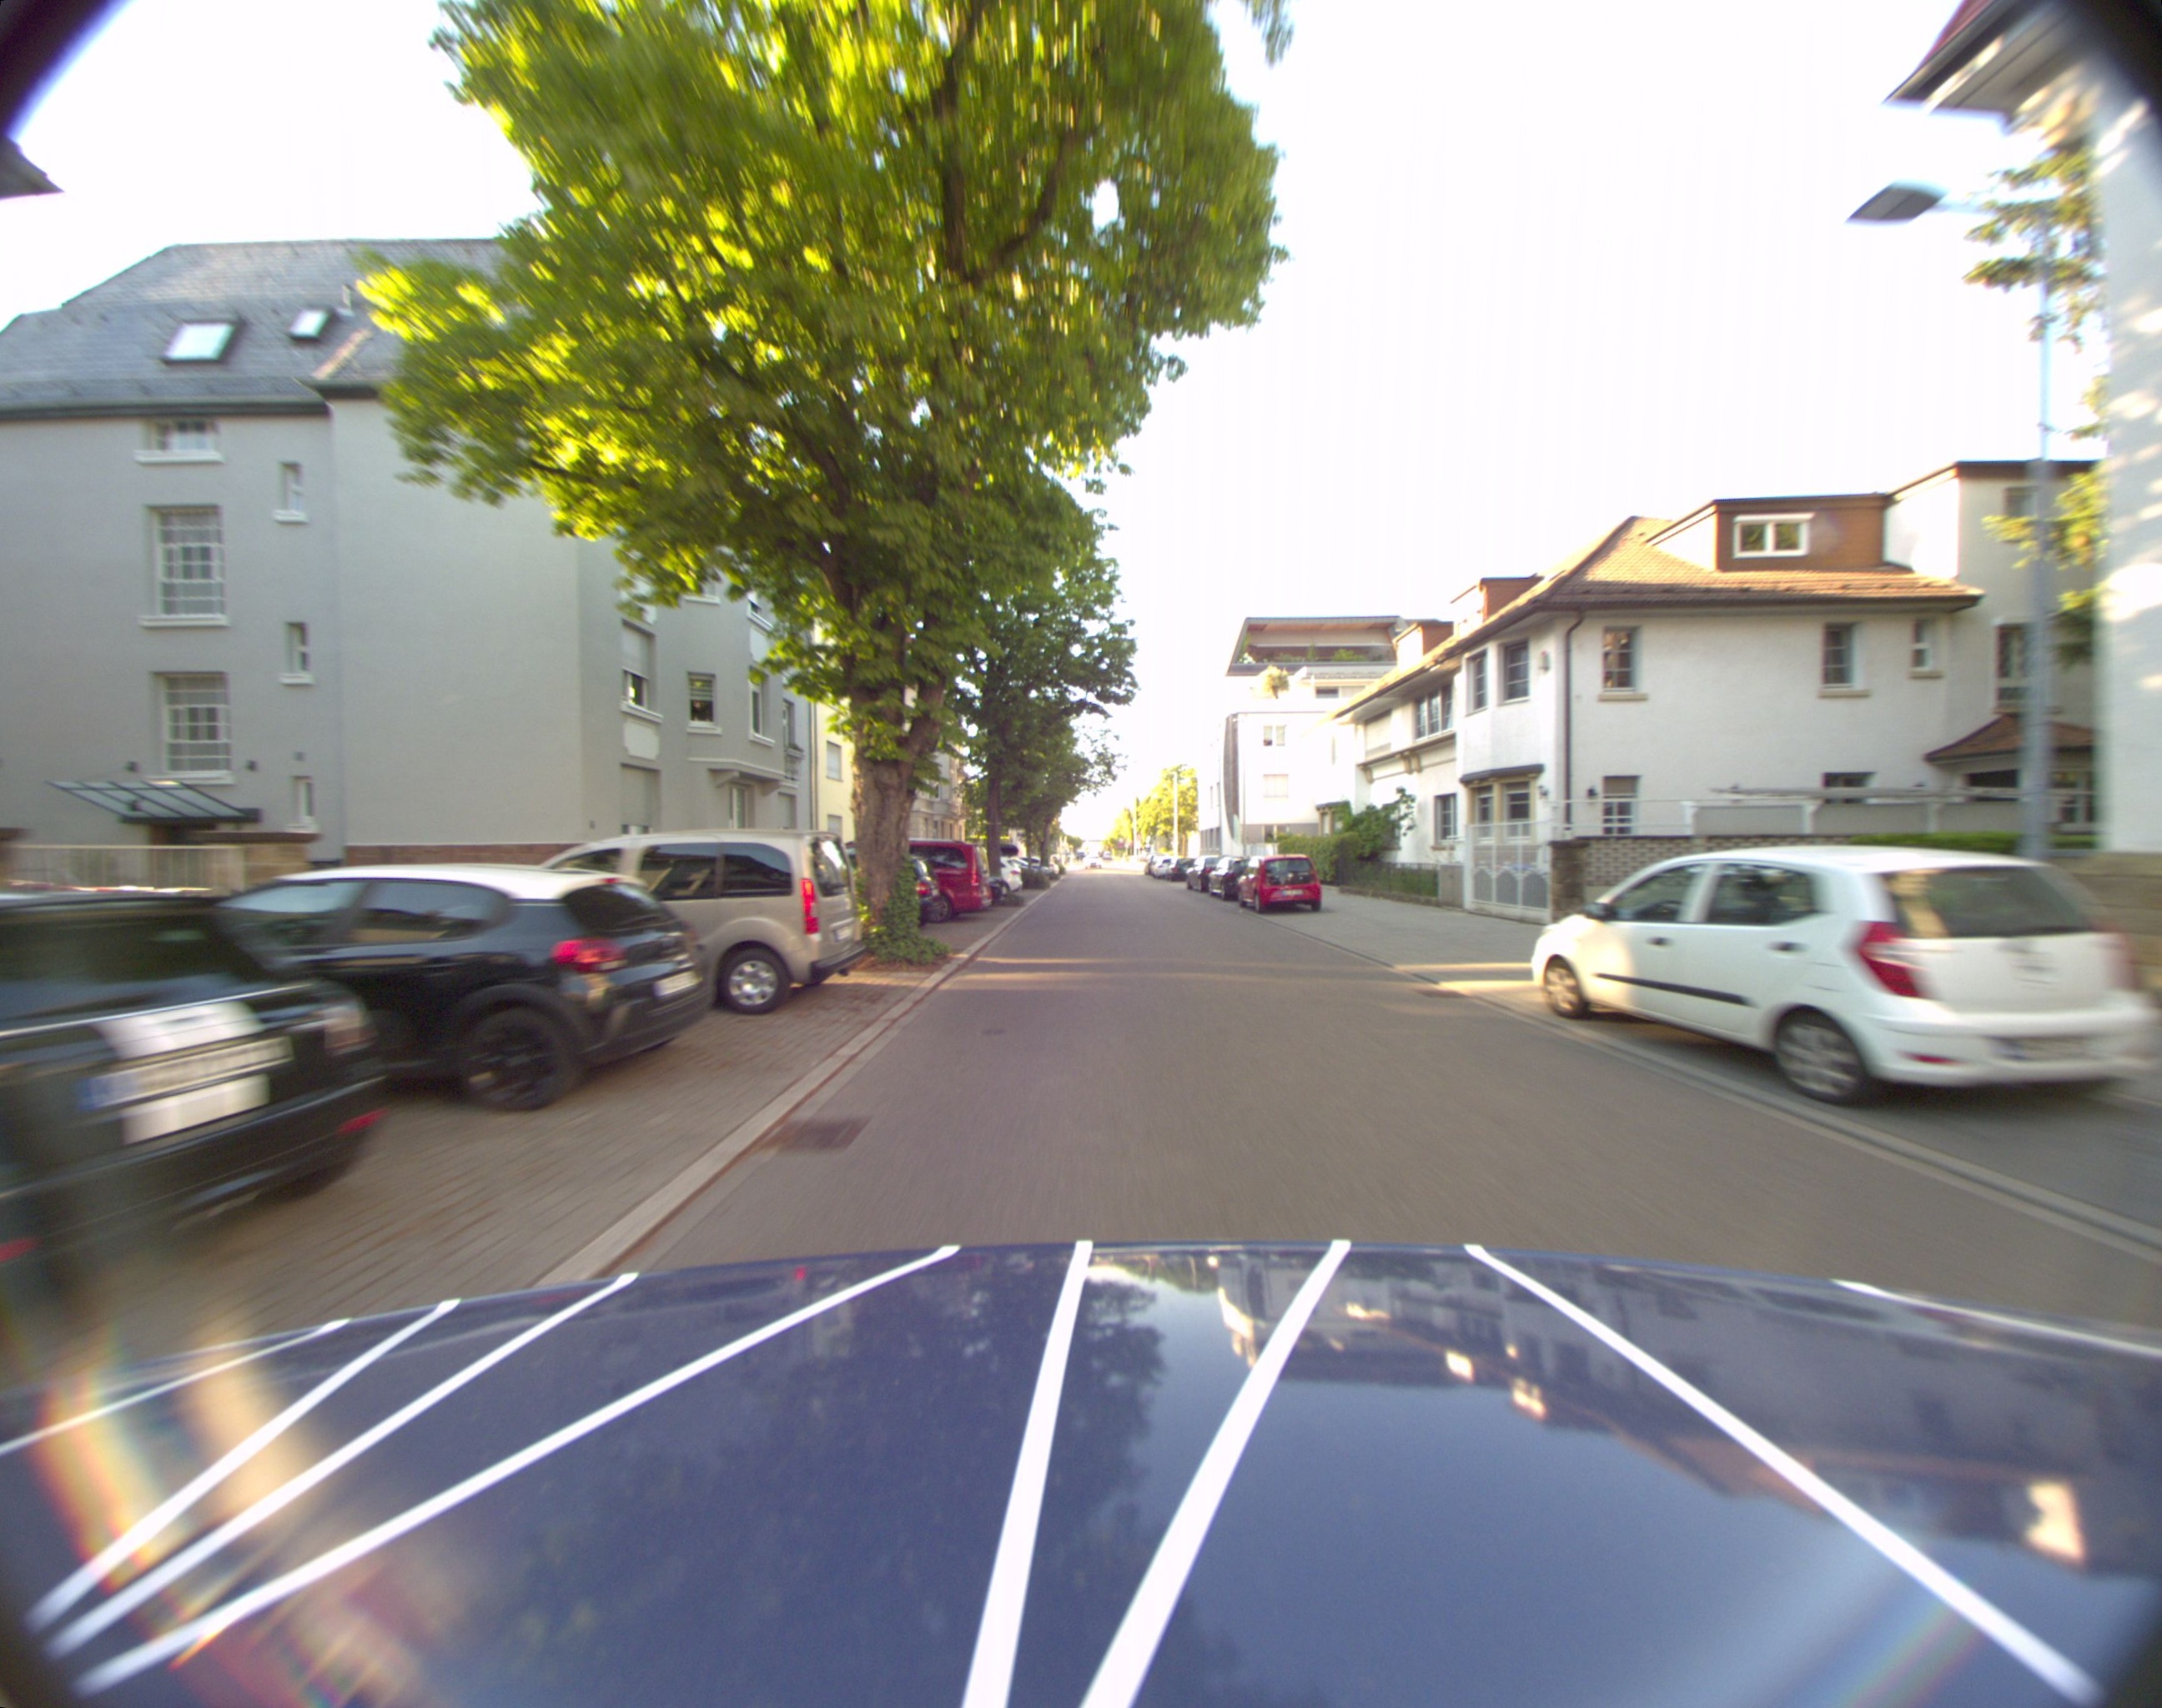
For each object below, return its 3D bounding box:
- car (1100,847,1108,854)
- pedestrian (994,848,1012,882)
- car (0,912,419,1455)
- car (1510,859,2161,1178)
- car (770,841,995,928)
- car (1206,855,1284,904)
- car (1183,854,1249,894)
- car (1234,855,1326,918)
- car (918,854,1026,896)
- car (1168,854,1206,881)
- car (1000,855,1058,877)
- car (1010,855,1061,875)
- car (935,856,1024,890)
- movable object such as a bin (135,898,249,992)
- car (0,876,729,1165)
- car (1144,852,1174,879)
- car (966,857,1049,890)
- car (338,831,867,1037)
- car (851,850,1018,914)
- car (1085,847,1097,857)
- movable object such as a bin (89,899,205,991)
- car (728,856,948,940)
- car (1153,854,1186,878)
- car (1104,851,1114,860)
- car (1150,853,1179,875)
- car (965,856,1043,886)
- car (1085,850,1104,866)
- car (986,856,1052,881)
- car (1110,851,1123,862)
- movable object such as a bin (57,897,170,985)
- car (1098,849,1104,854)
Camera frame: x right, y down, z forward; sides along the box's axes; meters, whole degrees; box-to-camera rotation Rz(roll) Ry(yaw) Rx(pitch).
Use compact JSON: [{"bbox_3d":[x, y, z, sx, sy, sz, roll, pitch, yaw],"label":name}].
[{"bbox_3d":[6.026,-0.876,199.571,1.913,1.679,4.198,-3,0,1],"label":"car"},{"bbox_3d":[-4.605,0.634,45.037,0.999,2.002,0.981,-1,1,-2],"label":"pedestrian"},{"bbox_3d":[-4.756,0.982,2.620,3.411,1.419,1.759,0,0,1],"label":"car"},{"bbox_3d":[5.091,0.846,5.696,1.585,1.511,3.706,-2,0,-1],"label":"car"},{"bbox_3d":[-4.587,0.683,18.090,4.819,1.925,1.950,0,0,1],"label":"car"},{"bbox_3d":[5.493,0.798,26.007,1.742,1.451,4.378,-3,0,1],"label":"car"},{"bbox_3d":[5.536,0.785,31.684,1.743,1.451,4.564,-3,0,-2],"label":"car"},{"bbox_3d":[5.295,0.811,20.619,1.654,1.474,3.429,-2,0,2],"label":"car"},{"bbox_3d":[-3.951,0.752,27.989,3.680,1.488,1.676,0,0,1],"label":"car"},{"bbox_3d":[6.006,0.760,43.414,1.723,1.386,3.908,-2,0,2],"label":"car"},{"bbox_3d":[-3.498,0.786,51.199,3.828,1.477,1.600,0,0,-6],"label":"car"},{"bbox_3d":[-3.461,0.841,58.715,3.825,1.477,1.601,0,0,1],"label":"car"},{"bbox_3d":[-4.393,0.818,33.226,3.680,1.434,1.601,0,0,1],"label":"car"},{"bbox_3d":[-11.305,1.141,9.680,0.604,1.094,0.692,-2,1,7],"label":"movable object such as a bin"},{"bbox_3d":[-4.969,0.962,5.160,4.313,1.532,1.758,0,0,-2],"label":"car"},{"bbox_3d":[5.965,0.865,58.756,1.913,1.937,4.198,-3,0,1],"label":"car"},{"bbox_3d":[-3.365,0.886,35.333,3.680,1.434,1.601,0,0,1],"label":"car"},{"bbox_3d":[-4.632,0.716,7.903,4.313,1.874,1.758,0,1,-2],"label":"car"},{"bbox_3d":[-3.989,0.754,21.076,4.207,1.695,1.792,0,0,4],"label":"car"},{"bbox_3d":[1.664,-0.331,128.416,1.913,1.679,4.198,-3,0,1],"label":"car"},{"bbox_3d":[-11.982,1.154,9.767,0.604,1.094,0.692,-2,1,7],"label":"movable object such as a bin"},{"bbox_3d":[-4.830,0.849,15.467,3.903,1.594,1.687,0,0,1],"label":"car"},{"bbox_3d":[5.640,0.754,48.817,1.723,1.386,3.908,-2,0,2],"label":"car"},{"bbox_3d":[5.746,0.260,154.465,1.913,1.679,4.198,-3,0,1],"label":"car"},{"bbox_3d":[5.889,0.682,54.184,1.723,1.489,3.908,-2,0,2],"label":"car"},{"bbox_3d":[-3.953,0.857,39.283,3.825,1.477,1.601,0,0,1],"label":"car"},{"bbox_3d":[1.484,0.394,83.213,1.998,1.690,4.424,-1,0,0],"label":"car"},{"bbox_3d":[-3.714,0.849,45.845,3.825,1.477,1.601,0,0,1],"label":"car"},{"bbox_3d":[5.590,0.421,121.460,1.913,1.679,4.198,-3,0,1],"label":"car"},{"bbox_3d":[-12.669,1.116,9.968,0.604,1.057,0.692,1,1,7],"label":"movable object such as a bin"},{"bbox_3d":[6.417,-0.853,246.154,1.913,1.679,4.198,-3,0,1],"label":"car"}]
